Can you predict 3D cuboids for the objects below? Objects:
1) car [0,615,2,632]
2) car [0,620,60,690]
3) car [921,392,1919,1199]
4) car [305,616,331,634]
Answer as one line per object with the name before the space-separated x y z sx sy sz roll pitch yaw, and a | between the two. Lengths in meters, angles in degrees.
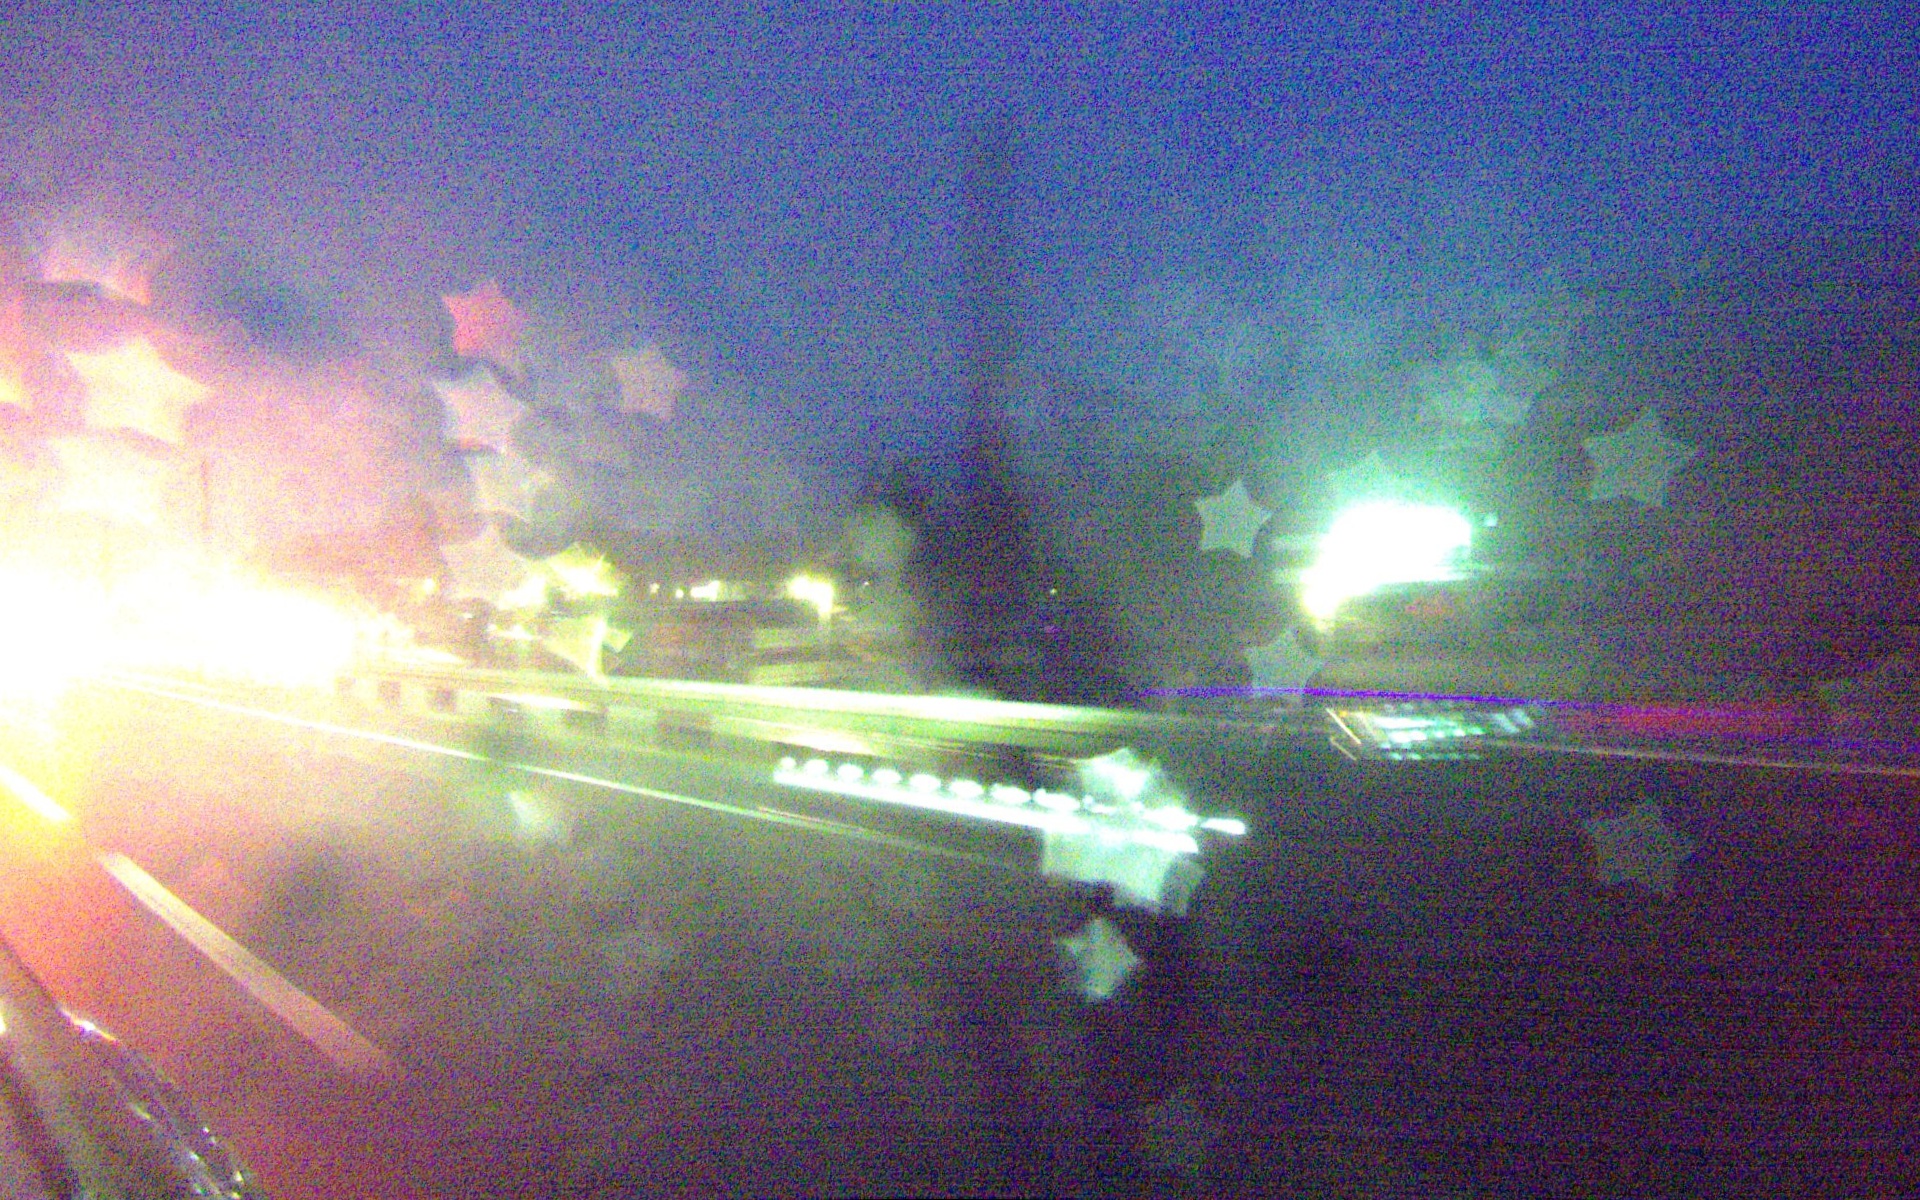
car | -81.194 1.975 84.404 1.782 1.393 4.777 -1 -1 -42
car | -24.381 1.407 25.993 3.560 1.628 1.468 -2 1 43
car | 2.036 0.547 2.158 3.998 1.716 1.906 -2 -1 41
car | -88.956 3.461 140.104 1.970 2.325 6.028 -1 -1 -43
